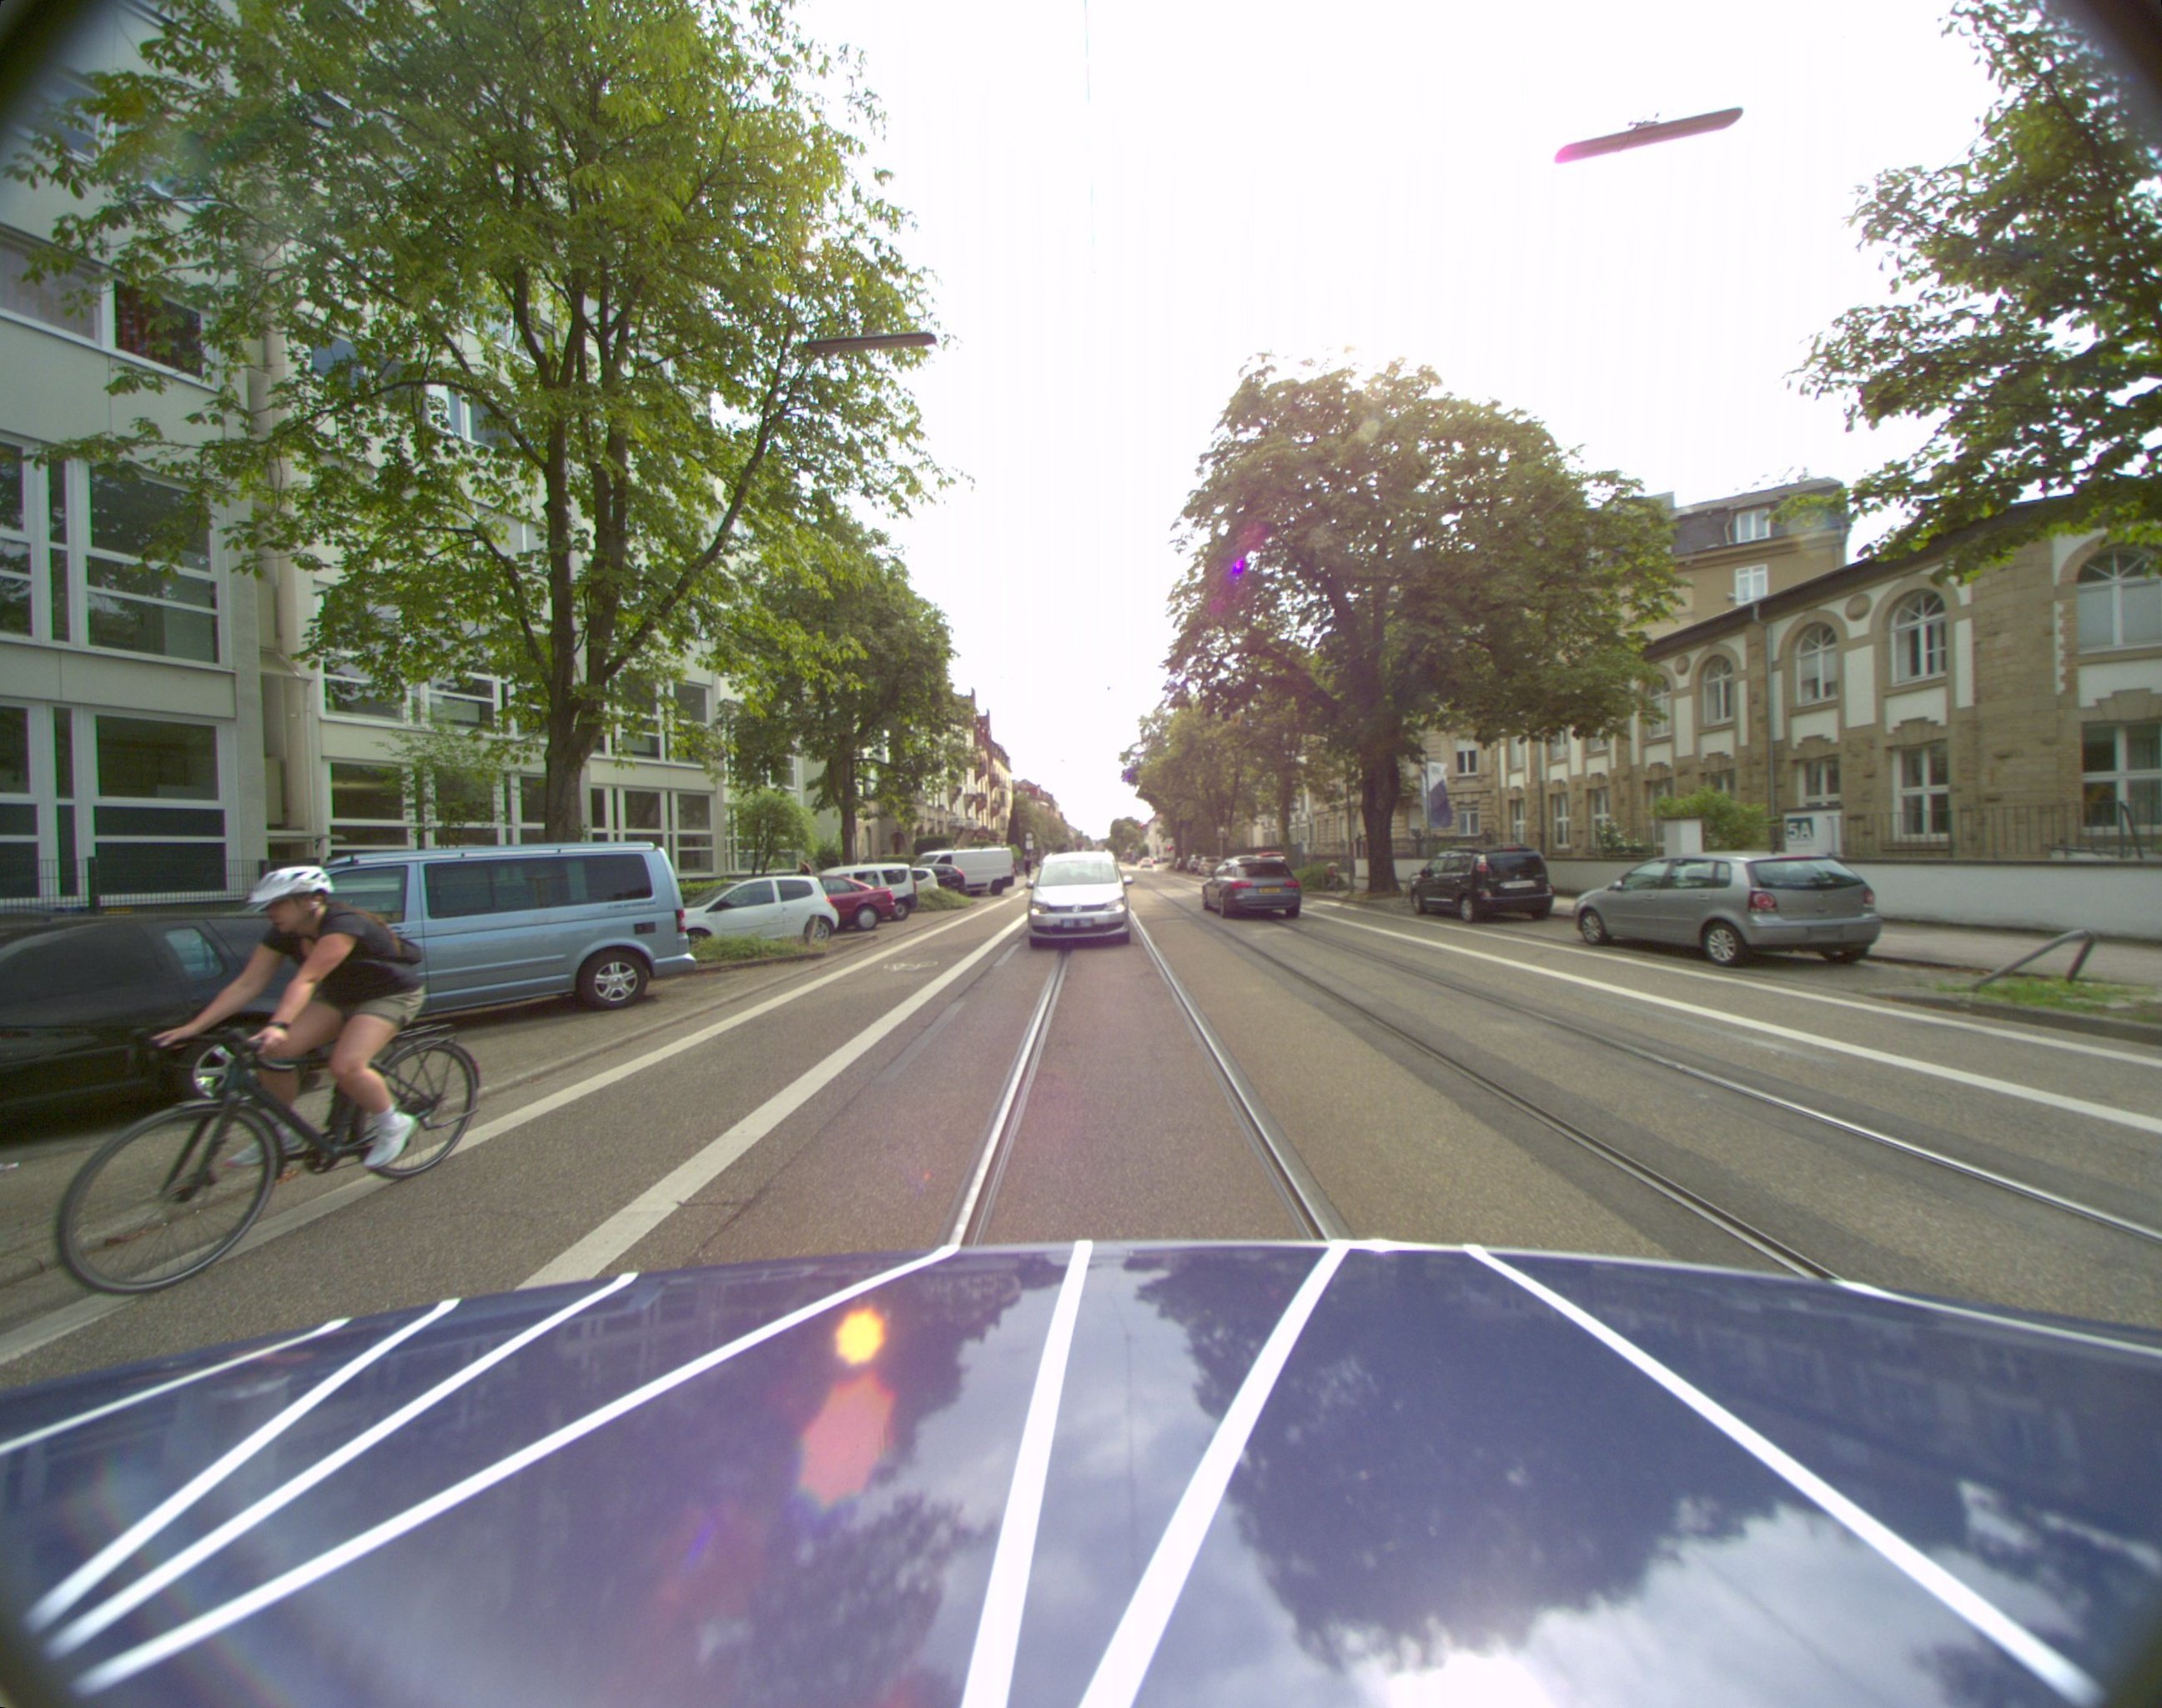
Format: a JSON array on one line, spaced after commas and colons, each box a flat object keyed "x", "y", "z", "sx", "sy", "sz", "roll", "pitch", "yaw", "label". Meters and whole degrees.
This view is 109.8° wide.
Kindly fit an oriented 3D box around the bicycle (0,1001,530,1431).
[{"x": -3.593, "y": 1.368, "z": 3.465, "sx": 0.640, "sy": 0.975, "sz": 2.071, "roll": -2, "pitch": 0, "yaw": -1, "label": "bicycle"}]

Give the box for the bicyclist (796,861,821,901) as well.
[{"x": -10.184, "y": 1.006, "z": 28.433, "sx": 0.649, "sy": 1.461, "sz": 0.800, "roll": 0, "pitch": 0, "yaw": -1, "label": "bicyclist"}]

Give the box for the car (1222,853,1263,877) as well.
[{"x": 10.393, "y": 0.681, "z": 49.117, "sx": 1.725, "sy": 1.415, "sz": 4.023, "roll": -4, "pitch": 0, "yaw": 0, "label": "car"}]

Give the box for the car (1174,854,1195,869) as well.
[{"x": 10.698, "y": 0.791, "z": 78.717, "sx": 1.724, "sy": 1.416, "sz": 4.166, "roll": -4, "pitch": 0, "yaw": 3, "label": "car"}]

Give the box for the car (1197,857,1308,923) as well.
[{"x": 4.263, "y": 0.834, "z": 19.611, "sx": 1.839, "sy": 1.439, "sz": 4.553, "roll": -2, "pitch": 0, "yaw": 1, "label": "car"}]

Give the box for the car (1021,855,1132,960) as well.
[{"x": 0.003, "y": 0.908, "z": 14.887, "sx": 1.767, "sy": 1.661, "sz": 4.330, "roll": -3, "pitch": 0, "yaw": 2, "label": "car"}]

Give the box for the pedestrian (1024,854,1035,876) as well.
[{"x": -4.095, "y": 0.862, "z": 60.874, "sx": 0.787, "sy": 1.723, "sz": 0.896, "roll": 0, "pitch": 0, "yaw": 1, "label": "pedestrian"}]

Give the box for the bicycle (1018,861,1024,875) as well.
[{"x": -5.261, "y": 1.221, "z": 66.707, "sx": 0.392, "sy": 1.135, "sz": 1.921, "roll": 0, "pitch": 0, "yaw": 2, "label": "bicycle"}]

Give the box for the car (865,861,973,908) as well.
[{"x": -6.604, "y": 1.215, "z": 31.271, "sx": 3.968, "sy": 1.639, "sz": 1.685, "roll": -3, "pitch": 1, "yaw": -43, "label": "car"}]

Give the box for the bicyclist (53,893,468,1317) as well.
[{"x": -3.607, "y": 0.997, "z": 3.483, "sx": 0.640, "sy": 1.561, "sz": 1.110, "roll": -2, "pitch": 0, "yaw": -1, "label": "bicyclist"}]

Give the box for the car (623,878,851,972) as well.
[{"x": -6.751, "y": 1.304, "z": 15.139, "sx": 3.723, "sy": 1.424, "sz": 1.685, "roll": -3, "pitch": 1, "yaw": -43, "label": "car"}]

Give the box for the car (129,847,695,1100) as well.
[{"x": -6.950, "y": 1.005, "z": 8.474, "sx": 4.284, "sy": 2.003, "sz": 1.826, "roll": -3, "pitch": 1, "yaw": -43, "label": "car"}]

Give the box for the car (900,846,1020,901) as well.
[{"x": -5.610, "y": 0.857, "z": 35.706, "sx": 4.968, "sy": 2.277, "sz": 2.378, "roll": -3, "pitch": 1, "yaw": -41, "label": "car"}]

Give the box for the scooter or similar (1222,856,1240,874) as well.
[{"x": 10.310, "y": 0.771, "z": 52.222, "sx": 0.563, "sy": 1.216, "sz": 1.321, "roll": -2, "pitch": 0, "yaw": -22, "label": "scooter or similar"}]

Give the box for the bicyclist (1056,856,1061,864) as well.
[{"x": -3.740, "y": 0.967, "z": 124.790, "sx": 0.571, "sy": 1.366, "sz": 0.616, "roll": -2, "pitch": 1, "yaw": 15, "label": "bicyclist"}]

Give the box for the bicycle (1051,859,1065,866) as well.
[{"x": -3.745, "y": 1.434, "z": 124.785, "sx": 2.196, "sy": 1.019, "sz": 0.616, "roll": -2, "pitch": 0, "yaw": 15, "label": "bicycle"}]

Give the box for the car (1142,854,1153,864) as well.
[{"x": 9.311, "y": 0.731, "z": 106.658, "sx": 1.574, "sy": 1.408, "sz": 4.002, "roll": 0, "pitch": 0, "yaw": 5, "label": "car"}]

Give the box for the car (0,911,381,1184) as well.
[{"x": -7.292, "y": 1.289, "z": 4.985, "sx": 1.672, "sy": 1.451, "sz": 3.836, "roll": -2, "pitch": 1, "yaw": 45, "label": "car"}]

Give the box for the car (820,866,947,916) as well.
[{"x": -7.099, "y": 1.298, "z": 27.547, "sx": 4.100, "sy": 1.502, "sz": 1.685, "roll": -3, "pitch": 1, "yaw": -43, "label": "car"}]

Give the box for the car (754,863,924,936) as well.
[{"x": -6.620, "y": 1.178, "z": 21.080, "sx": 4.116, "sy": 1.658, "sz": 1.685, "roll": -3, "pitch": 1, "yaw": -44, "label": "car"}]

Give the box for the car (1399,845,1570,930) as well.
[{"x": 9.035, "y": 0.682, "z": 17.438, "sx": 1.760, "sy": 1.637, "sz": 4.052, "roll": -3, "pitch": 0, "yaw": 1, "label": "car"}]

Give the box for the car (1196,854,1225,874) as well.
[{"x": 10.066, "y": 0.773, "z": 59.314, "sx": 1.604, "sy": 1.459, "sz": 4.079, "roll": -2, "pitch": 0, "yaw": 1, "label": "car"}]

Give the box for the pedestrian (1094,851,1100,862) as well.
[{"x": 2.472, "y": 0.445, "z": 115.784, "sx": 0.721, "sy": 1.651, "sz": 0.759, "roll": 2, "pitch": 0, "yaw": -2, "label": "pedestrian"}]

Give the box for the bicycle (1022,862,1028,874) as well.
[{"x": -5.089, "y": 1.268, "z": 69.419, "sx": 0.392, "sy": 1.096, "sz": 1.759, "roll": 0, "pitch": 0, "yaw": 2, "label": "bicycle"}]

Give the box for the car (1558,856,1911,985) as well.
[{"x": 8.866, "y": 0.781, "z": 10.831, "sx": 1.697, "sy": 1.419, "sz": 3.868, "roll": -3, "pitch": 0, "yaw": 1, "label": "car"}]

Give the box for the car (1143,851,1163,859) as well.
[{"x": 16.341, "y": 0.167, "z": 172.734, "sx": 3.989, "sy": 1.622, "sz": 1.682, "roll": -2, "pitch": 0, "yaw": 35, "label": "car"}]

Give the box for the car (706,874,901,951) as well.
[{"x": -6.557, "y": 1.304, "z": 18.182, "sx": 3.983, "sy": 1.424, "sz": 1.685, "roll": -3, "pitch": 1, "yaw": -41, "label": "car"}]

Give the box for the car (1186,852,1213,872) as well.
[{"x": 10.367, "y": 0.678, "z": 66.948, "sx": 1.714, "sy": 1.664, "sz": 4.357, "roll": -2, "pitch": 0, "yaw": 1, "label": "car"}]

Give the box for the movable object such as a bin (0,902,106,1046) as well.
[{"x": -12.170, "y": 1.345, "z": 8.372, "sx": 1.072, "sy": 1.499, "sz": 1.323, "roll": -3, "pitch": 0, "yaw": 2, "label": "movable object such as a bin"}]

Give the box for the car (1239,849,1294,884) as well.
[{"x": 9.782, "y": 0.632, "z": 40.352, "sx": 1.725, "sy": 1.645, "sz": 4.542, "roll": -4, "pitch": 0, "yaw": 0, "label": "car"}]
